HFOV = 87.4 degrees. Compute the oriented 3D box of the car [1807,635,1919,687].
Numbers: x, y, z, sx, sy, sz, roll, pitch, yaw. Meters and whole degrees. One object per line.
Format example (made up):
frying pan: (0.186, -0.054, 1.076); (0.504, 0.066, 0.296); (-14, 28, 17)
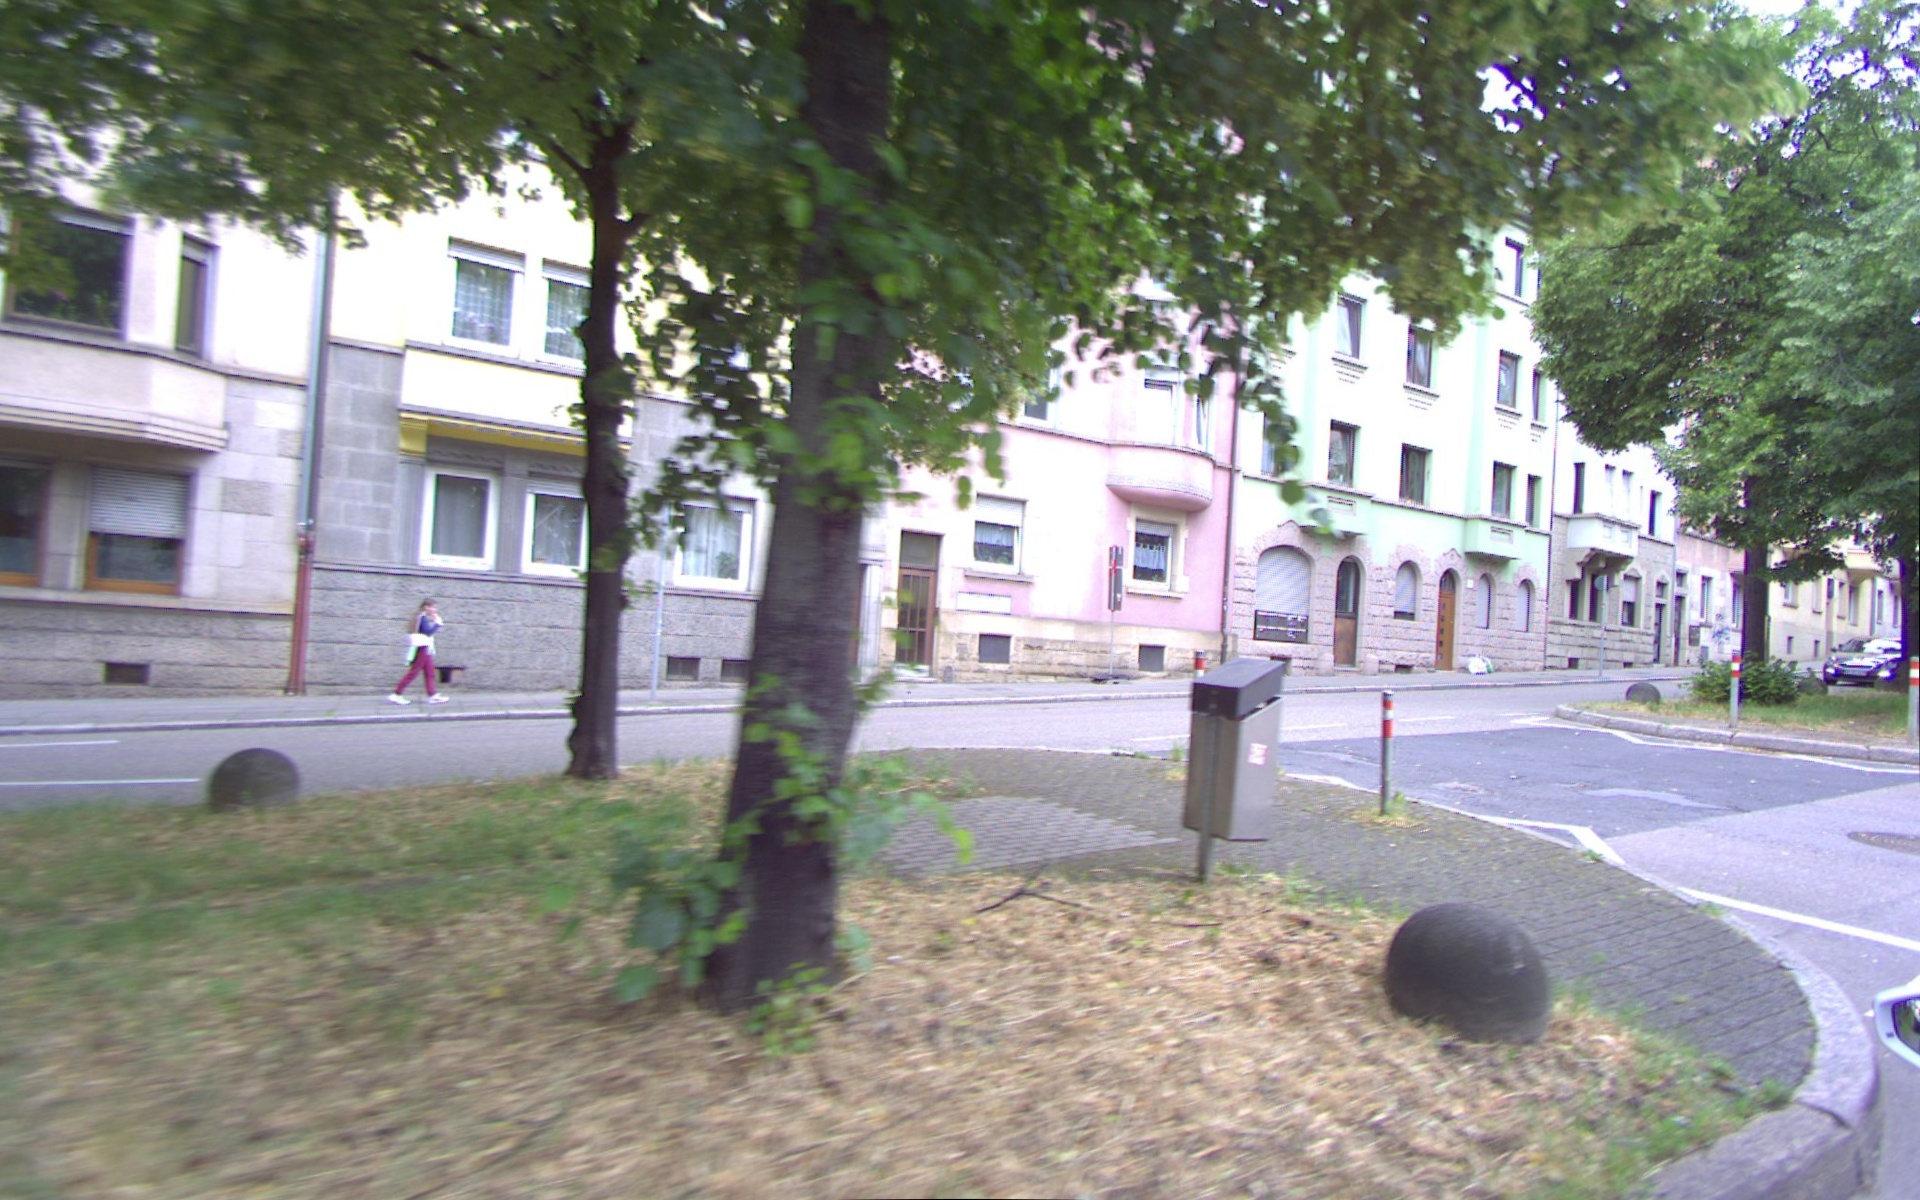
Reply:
car: (27.320, 1.762, 29.957); (4.613, 1.400, 1.700); (1, -1, -30)
